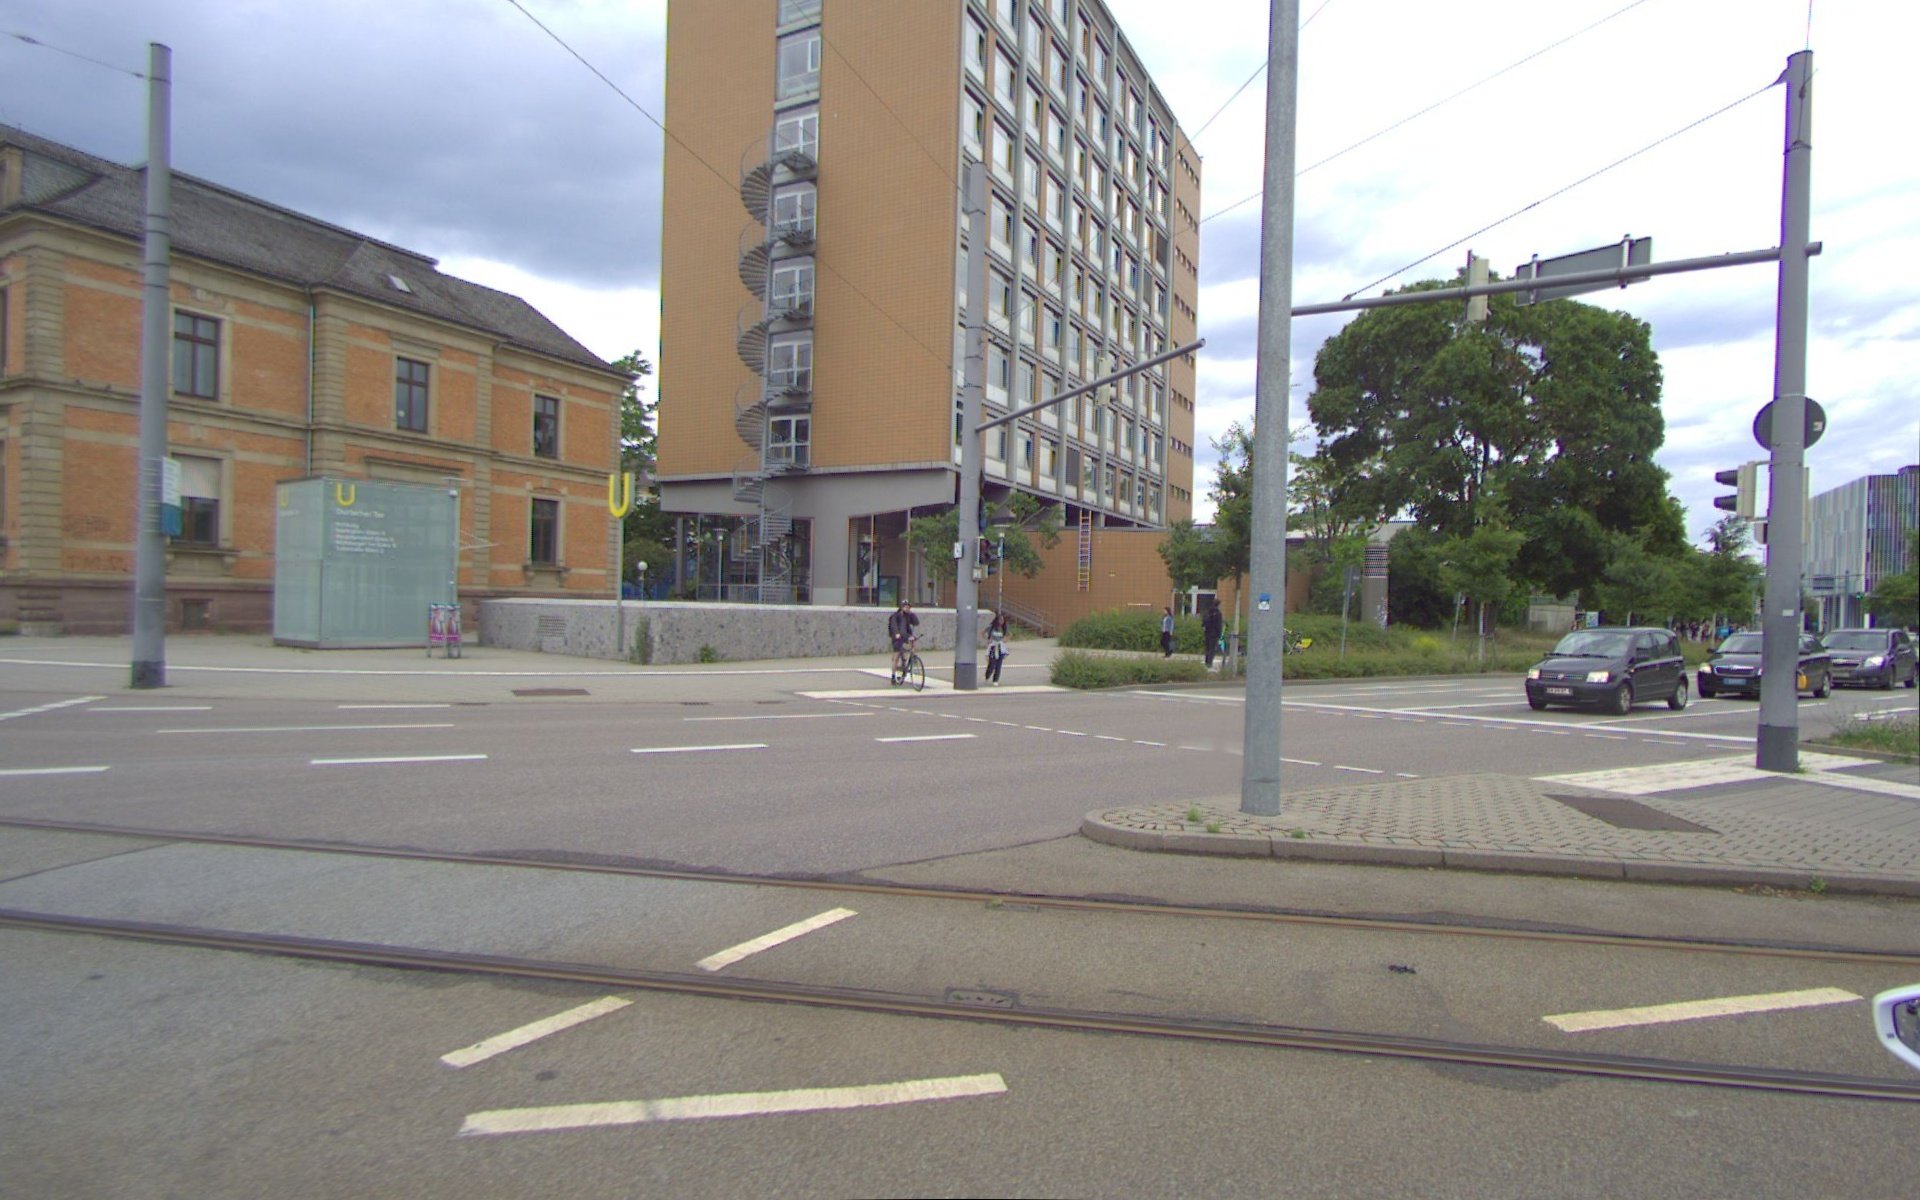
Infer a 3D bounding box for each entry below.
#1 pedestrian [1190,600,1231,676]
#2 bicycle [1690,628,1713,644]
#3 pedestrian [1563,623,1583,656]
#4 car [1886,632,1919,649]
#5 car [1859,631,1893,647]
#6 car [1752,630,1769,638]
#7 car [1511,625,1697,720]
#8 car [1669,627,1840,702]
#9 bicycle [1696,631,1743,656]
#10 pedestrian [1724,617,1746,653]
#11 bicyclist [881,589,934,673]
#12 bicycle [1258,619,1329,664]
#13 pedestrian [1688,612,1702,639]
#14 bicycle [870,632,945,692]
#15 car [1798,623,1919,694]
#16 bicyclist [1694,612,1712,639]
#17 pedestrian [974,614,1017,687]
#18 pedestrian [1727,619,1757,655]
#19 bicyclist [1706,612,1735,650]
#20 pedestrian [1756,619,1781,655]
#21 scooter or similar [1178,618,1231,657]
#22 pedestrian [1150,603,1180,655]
[{"bbox_3d":[6.787,1.012,27.209,0.651,2.007,0.815,2,0,-30],"label":"pedestrian"},{"bbox_3d":[44.878,2.183,60.784,1.868,0.894,0.709,2,0,-41],"label":"bicycle"},{"bbox_3d":[29.475,1.908,48.268,0.749,1.562,0.556,2,0,-40],"label":"pedestrian"},{"bbox_3d":[102.430,4.401,108.931,1.963,1.662,3.995,1,0,28],"label":"car"},{"bbox_3d":[108.193,4.599,118.659,1.963,1.704,4.006,1,0,27],"label":"car"},{"bbox_3d":[131.159,5.540,164.554,1.686,1.282,3.333,1,0,30],"label":"car"},{"bbox_3d":[11.755,1.268,18.272,3.629,1.535,1.608,2,-1,-35],"label":"car"},{"bbox_3d":[17.910,1.421,22.587,4.435,1.528,1.858,2,-3,-35],"label":"car"},{"bbox_3d":[38.552,2.201,51.007,1.872,1.174,0.790,2,0,-9],"label":"bicycle"},{"bbox_3d":[40.465,1.824,52.447,0.760,1.866,0.751,2,-2,-39],"label":"pedestrian"},{"bbox_3d":[-1.110,0.648,21.117,0.783,1.679,0.809,2,2,-26],"label":"bicyclist"},{"bbox_3d":[11.825,1.464,35.603,2.214,1.468,0.848,2,0,-11],"label":"bicycle"},{"bbox_3d":[56.230,1.969,76.851,0.746,2.040,1.041,2,0,42],"label":"pedestrian"},{"bbox_3d":[-1.127,1.280,21.092,0.785,1.042,2.105,2,2,-26],"label":"bicycle"},{"bbox_3d":[24.869,1.579,27.596,4.669,1.748,1.857,2,-1,-37],"label":"car"},{"bbox_3d":[44.992,1.566,60.855,0.706,1.591,0.708,2,0,-41],"label":"bicyclist"},{"bbox_3d":[0.778,1.101,22.071,0.741,1.572,0.575,2,0,-31],"label":"pedestrian"},{"bbox_3d":[41.491,1.973,53.319,0.858,1.867,1.040,2,0,-39],"label":"pedestrian"},{"bbox_3d":[38.620,1.579,51.018,0.819,1.869,0.791,2,0,-9],"label":"bicyclist"},{"bbox_3d":[43.411,1.980,53.910,0.661,1.867,0.886,2,0,-39],"label":"pedestrian"},{"bbox_3d":[8.830,1.337,36.325,1.751,1.320,0.626,2,0,43],"label":"scooter or similar"},{"bbox_3d":[7.025,0.990,34.411,0.678,1.757,0.743,2,0,-30],"label":"pedestrian"}]
